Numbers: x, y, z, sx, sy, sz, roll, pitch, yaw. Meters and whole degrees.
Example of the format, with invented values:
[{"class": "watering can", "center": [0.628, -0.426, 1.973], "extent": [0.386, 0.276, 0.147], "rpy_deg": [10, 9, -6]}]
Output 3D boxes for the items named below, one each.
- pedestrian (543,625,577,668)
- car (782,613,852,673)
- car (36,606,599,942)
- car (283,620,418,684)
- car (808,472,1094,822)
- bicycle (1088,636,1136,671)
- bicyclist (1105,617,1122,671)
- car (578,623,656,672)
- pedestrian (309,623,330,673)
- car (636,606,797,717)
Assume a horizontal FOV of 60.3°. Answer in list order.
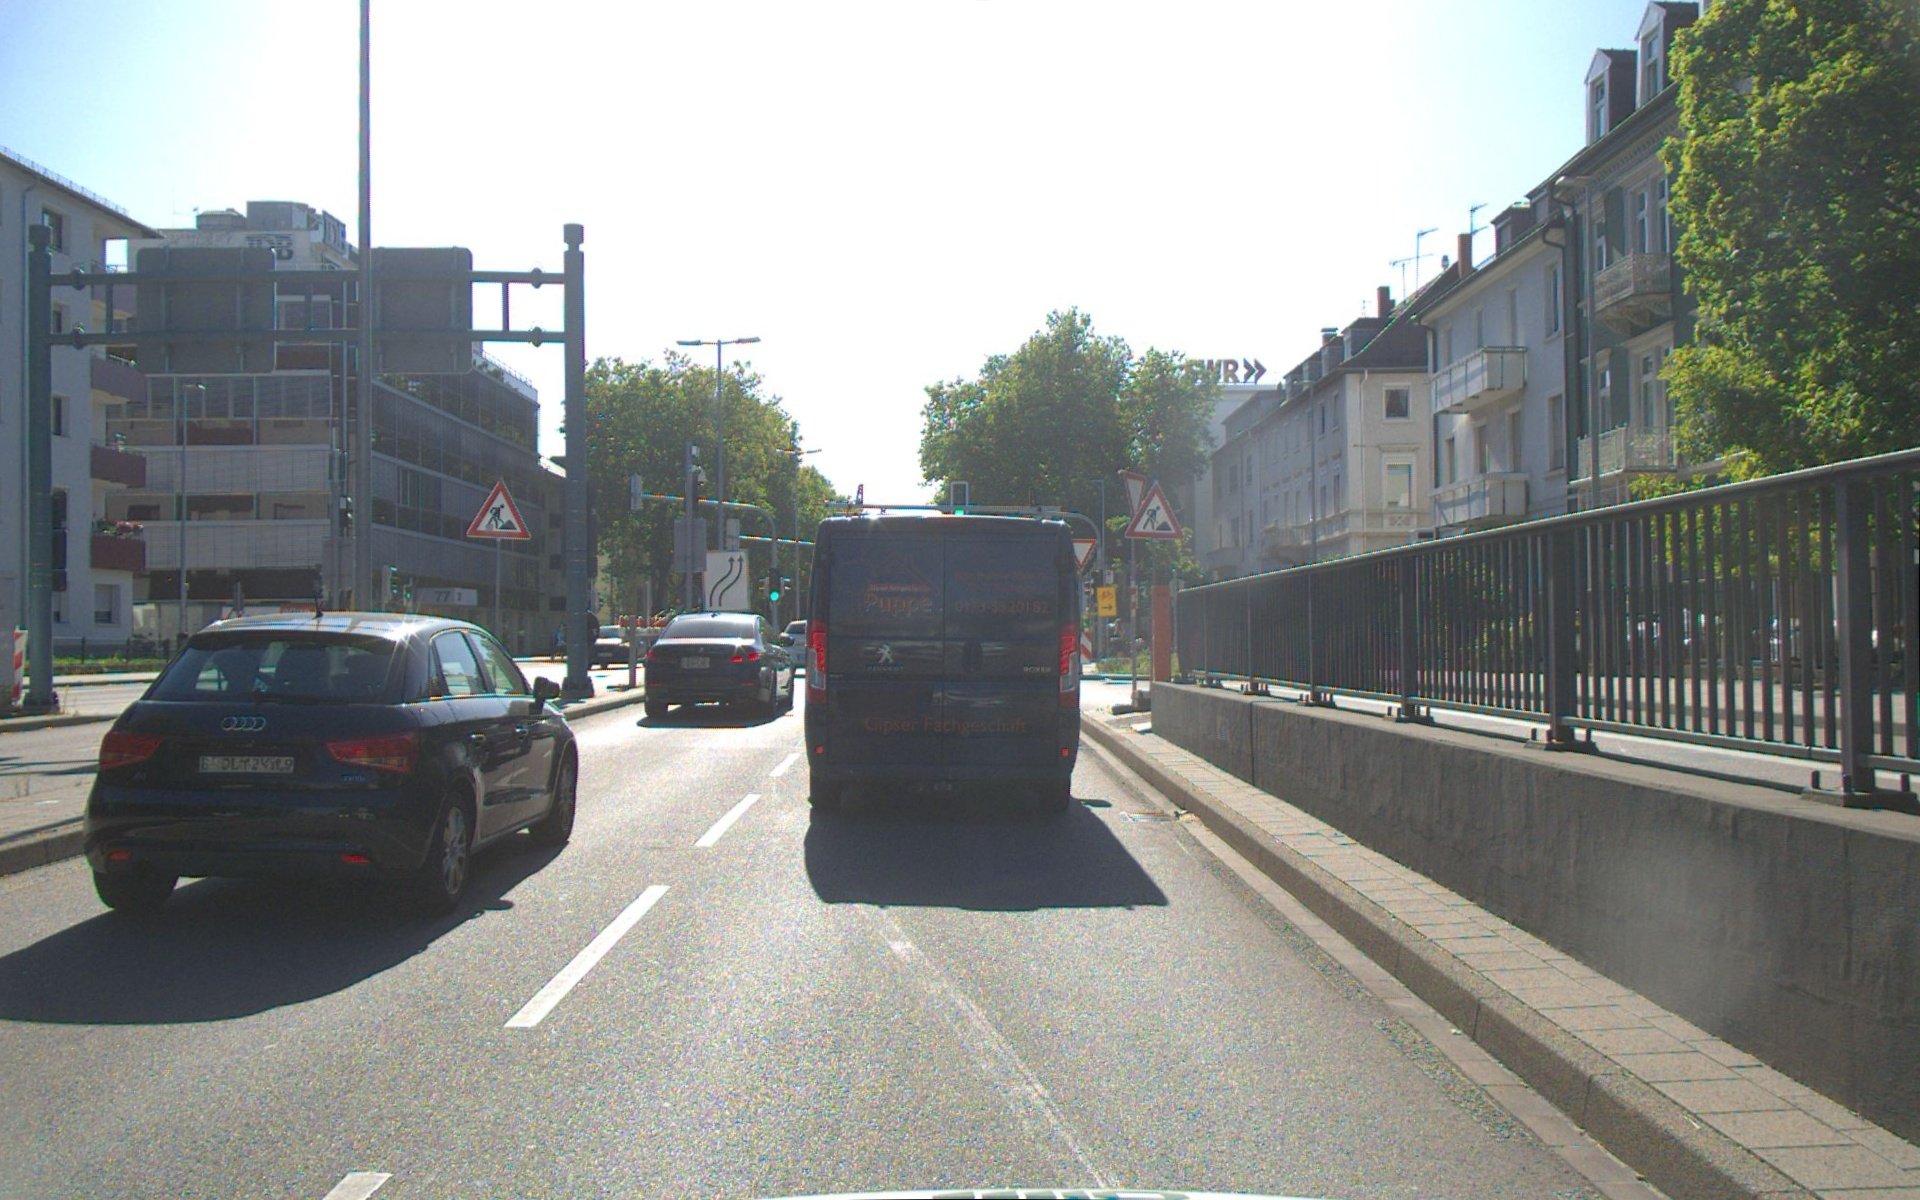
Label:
[{"class": "pedestrian", "center": [-18.773, 2.193, 77.699], "extent": [1.305, 1.965, 1.025], "rpy_deg": [1, -1, -1]}, {"class": "car", "center": [-3.751, 1.104, 43.852], "extent": [1.586, 1.428, 3.851], "rpy_deg": [1, 1, -1]}, {"class": "car", "center": [-3.226, 0.775, 9.168], "extent": [1.661, 1.443, 3.887], "rpy_deg": [1, 0, -2]}, {"class": "car", "center": [-16.128, 1.350, 43.965], "extent": [1.895, 1.582, 3.924], "rpy_deg": [1, -1, 3]}, {"class": "car", "center": [-0.092, 0.347, 13.560], "extent": [1.989, 2.444, 3.971], "rpy_deg": [0, -1, -1]}, {"class": "bicycle", "center": [5.108, 1.793, 55.513], "extent": [1.534, 1.138, 0.570], "rpy_deg": [1, -1, -2]}, {"class": "bicyclist", "center": [5.154, 1.475, 55.520], "extent": [0.499, 1.766, 0.597], "rpy_deg": [1, -1, -1]}, {"class": "car", "center": [-11.925, 1.633, 57.741], "extent": [1.896, 1.582, 3.922], "rpy_deg": [1, -1, -1]}, {"class": "pedestrian", "center": [-25.126, 1.864, 64.874], "extent": [0.647, 1.929, 0.721], "rpy_deg": [1, -1, -14]}, {"class": "car", "center": [-3.520, 0.848, 24.764], "extent": [1.772, 1.464, 5.000], "rpy_deg": [1, 0, -2]}]
